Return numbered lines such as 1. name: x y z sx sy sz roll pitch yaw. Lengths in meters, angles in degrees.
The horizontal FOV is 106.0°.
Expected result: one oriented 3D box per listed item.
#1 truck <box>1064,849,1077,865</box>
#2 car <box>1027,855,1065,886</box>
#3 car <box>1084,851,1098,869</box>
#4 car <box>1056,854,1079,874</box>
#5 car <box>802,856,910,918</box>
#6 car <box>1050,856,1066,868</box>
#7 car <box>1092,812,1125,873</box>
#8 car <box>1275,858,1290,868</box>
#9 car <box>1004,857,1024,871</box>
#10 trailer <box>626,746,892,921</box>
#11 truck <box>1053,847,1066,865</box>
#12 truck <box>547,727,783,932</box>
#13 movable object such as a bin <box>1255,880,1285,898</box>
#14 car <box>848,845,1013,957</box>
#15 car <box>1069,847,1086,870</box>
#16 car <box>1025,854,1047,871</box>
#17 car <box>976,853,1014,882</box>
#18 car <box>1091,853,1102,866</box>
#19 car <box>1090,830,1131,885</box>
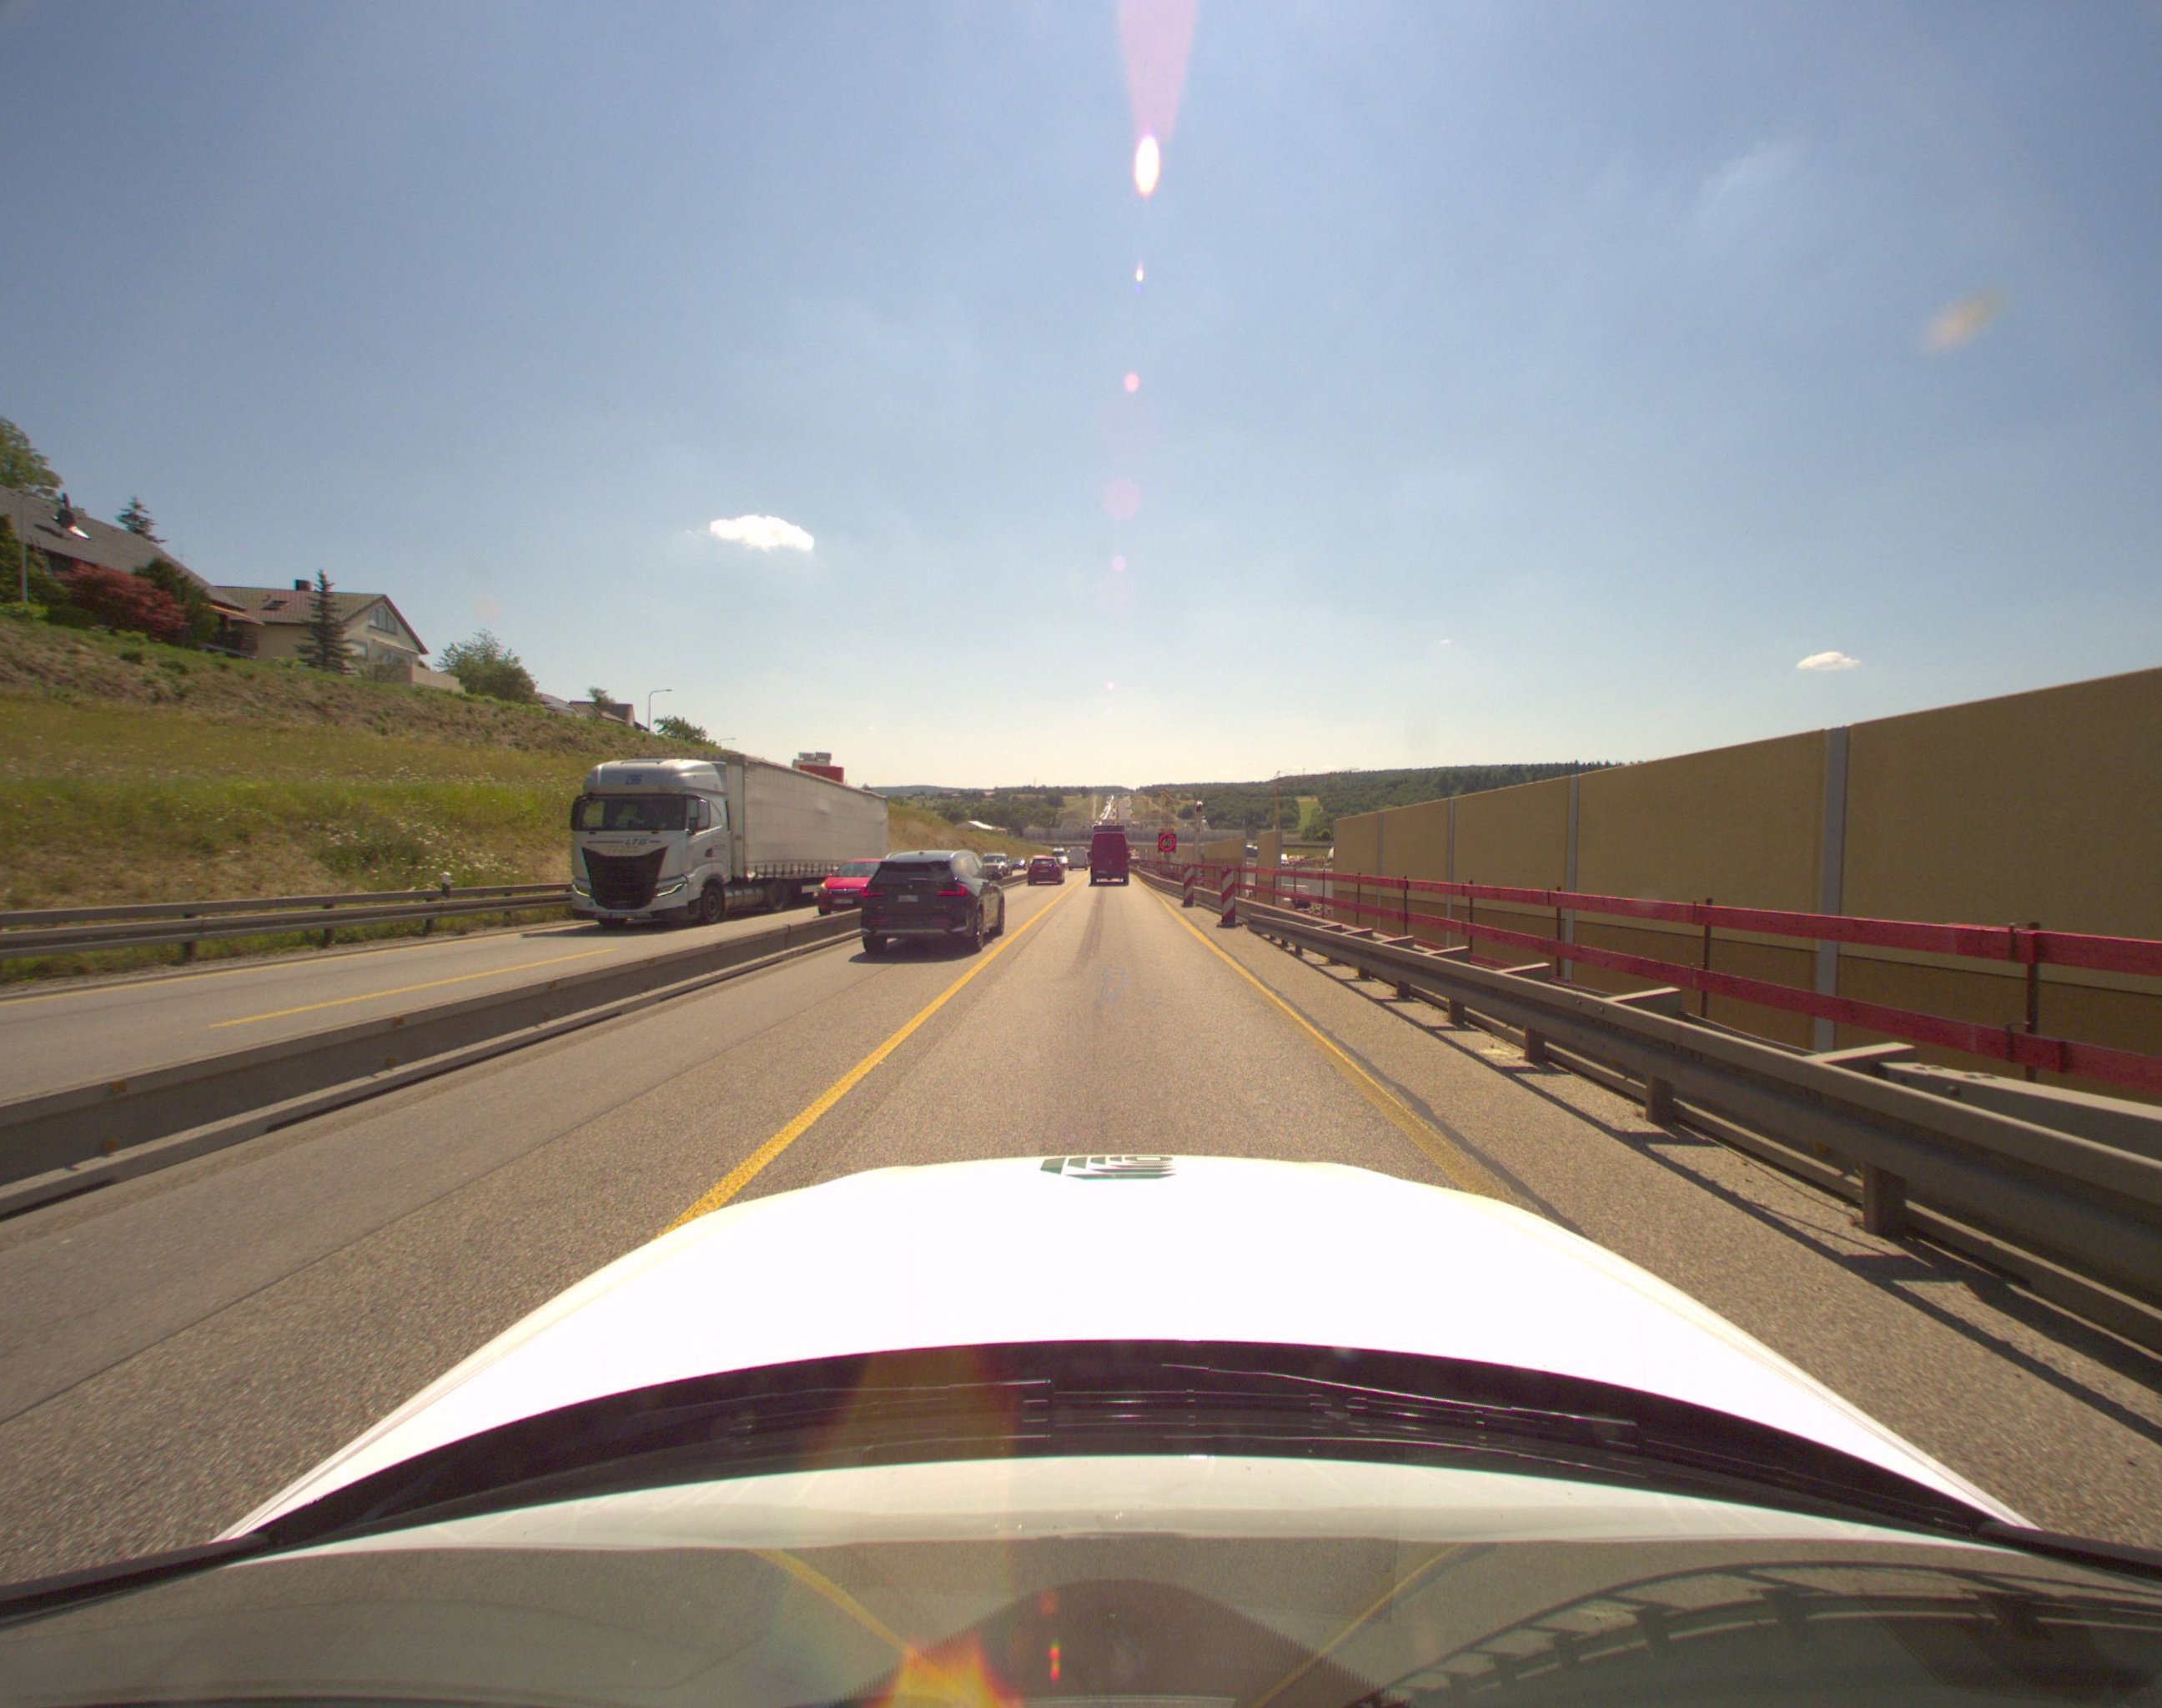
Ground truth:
1. truck: -2.129 0.659 170.999 2.529 3.374 7.040 0 0 1
2. car: -1.797 0.823 43.069 1.770 1.517 4.205 -1 0 0
3. car: 1.381 0.781 108.722 1.769 2.330 4.207 -1 0 2
4. car: -1.146 0.850 71.083 1.833 1.654 4.166 -1 0 1
5. car: -5.923 0.815 21.890 1.663 1.466 4.002 -1 0 2
6. car: -3.088 1.077 111.096 1.948 1.499 5.091 0 0 2
7. car: 2.482 -0.932 73.647 2.611 5.032 10.400 -1 0 2
8. car: 40.543 1.862 164.253 1.800 2.014 4.824 0 0 0
9. car: -7.482 1.106 91.167 1.678 1.585 5.128 0 0 2
10. trailer: -9.357 -0.490 26.556 2.775 4.182 13.982 -1 0 1
11. truck: -4.785 0.487 179.539 2.688 4.050 3.956 0 0 1
12. truck: -9.542 -0.502 19.419 2.735 4.182 5.290 -1 0 2
13. movable object such as a bin: 29.452 5.403 127.265 3.150 2.446 7.899 2 -1 2
14. car: -2.404 0.702 14.208 1.873 1.618 4.500 -1 0 2
15. car: -0.356 0.497 89.987 1.769 2.441 4.207 -1 0 2
16. car: -4.649 0.890 84.682 1.833 1.654 5.372 -1 0 1
17. car: -5.258 0.833 50.335 1.826 1.666 4.413 -1 -1 0
18. car: 2.759 0.965 145.186 1.769 2.330 4.207 -1 0 2
19. car: 1.519 0.171 42.464 1.981 2.690 4.625 -1 0 2
